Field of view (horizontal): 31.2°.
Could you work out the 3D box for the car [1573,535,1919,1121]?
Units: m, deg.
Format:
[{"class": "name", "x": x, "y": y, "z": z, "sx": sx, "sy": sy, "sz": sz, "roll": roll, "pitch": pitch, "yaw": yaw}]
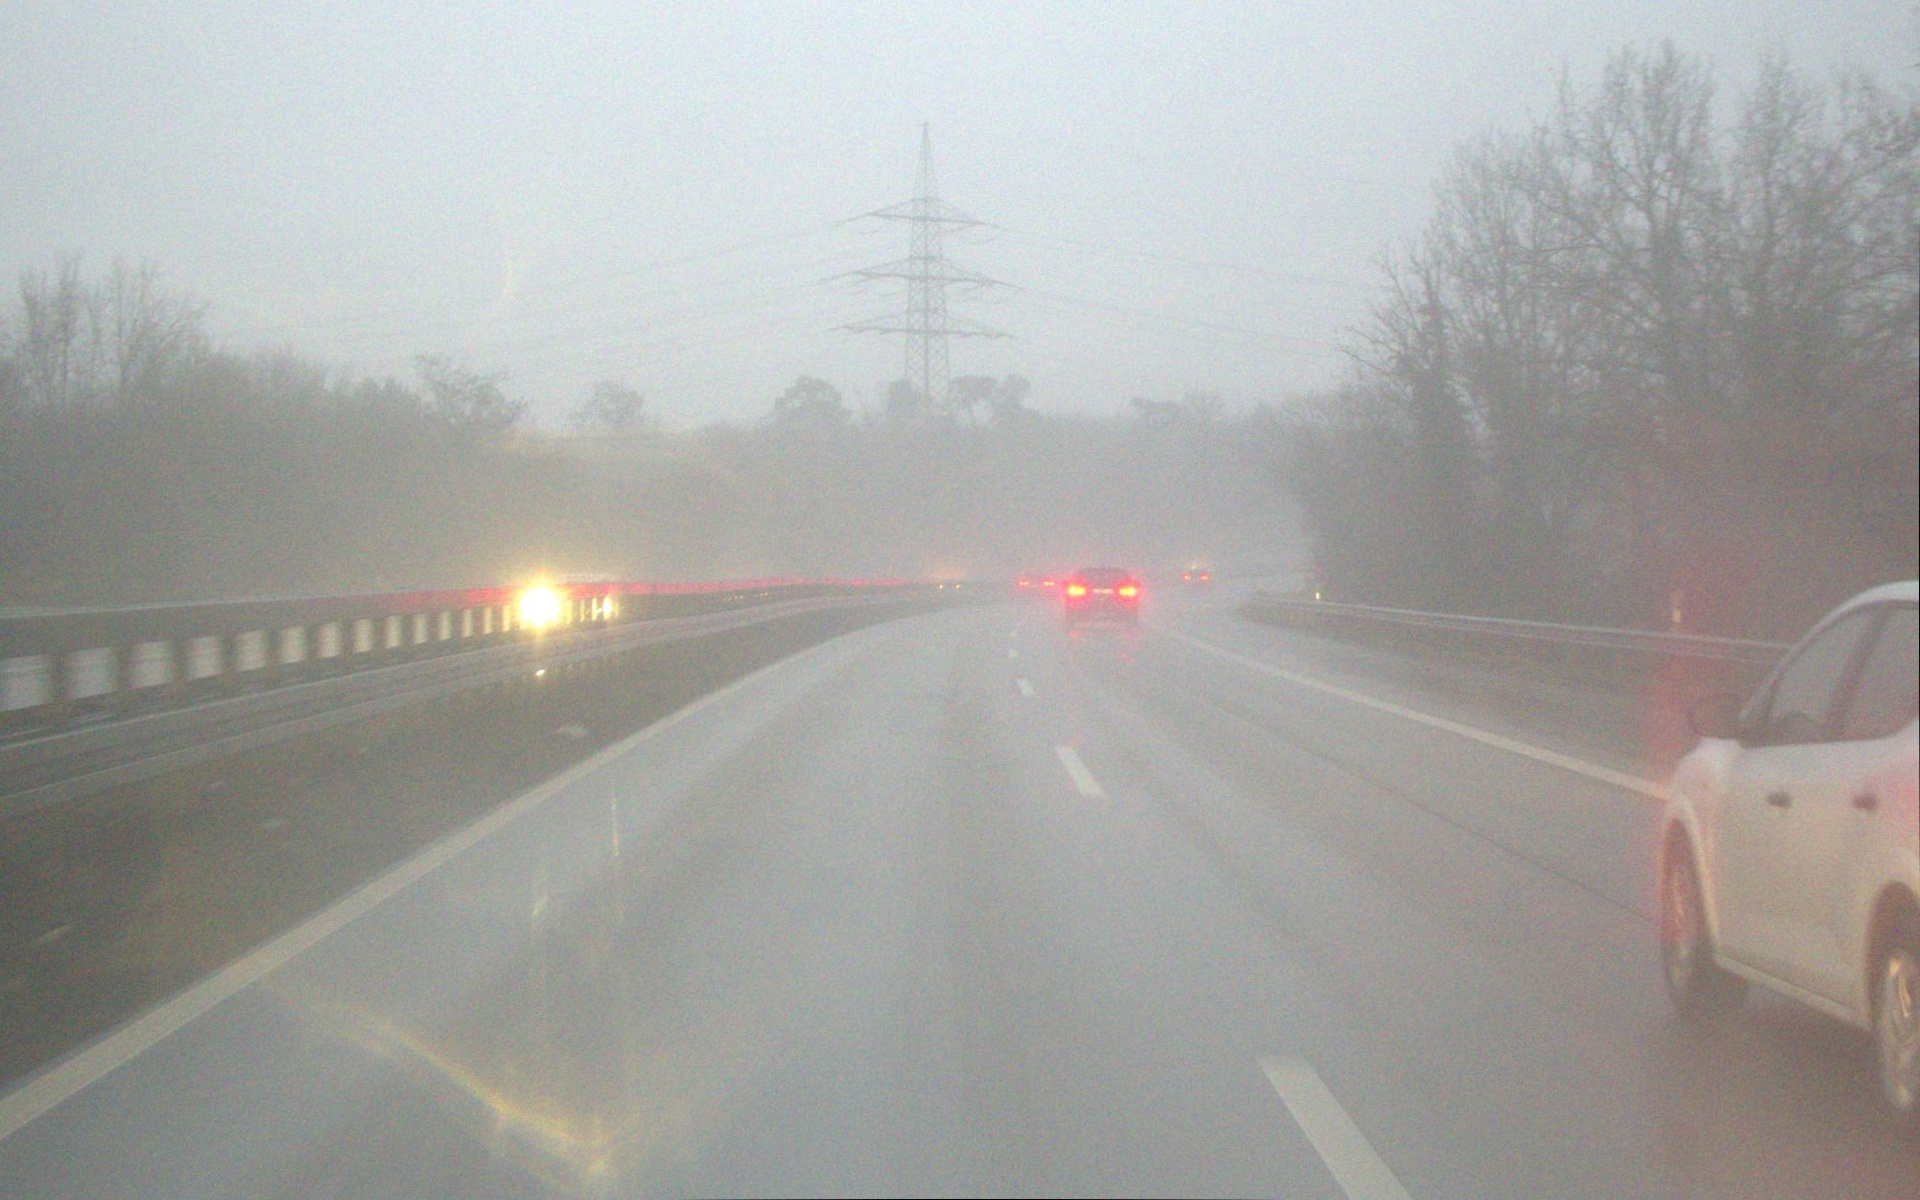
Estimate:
[{"class": "car", "x": 3.229, "y": 0.549, "z": 10.884, "sx": 1.797, "sy": 1.498, "sz": 4.000, "roll": -1, "pitch": 1, "yaw": -1}]
